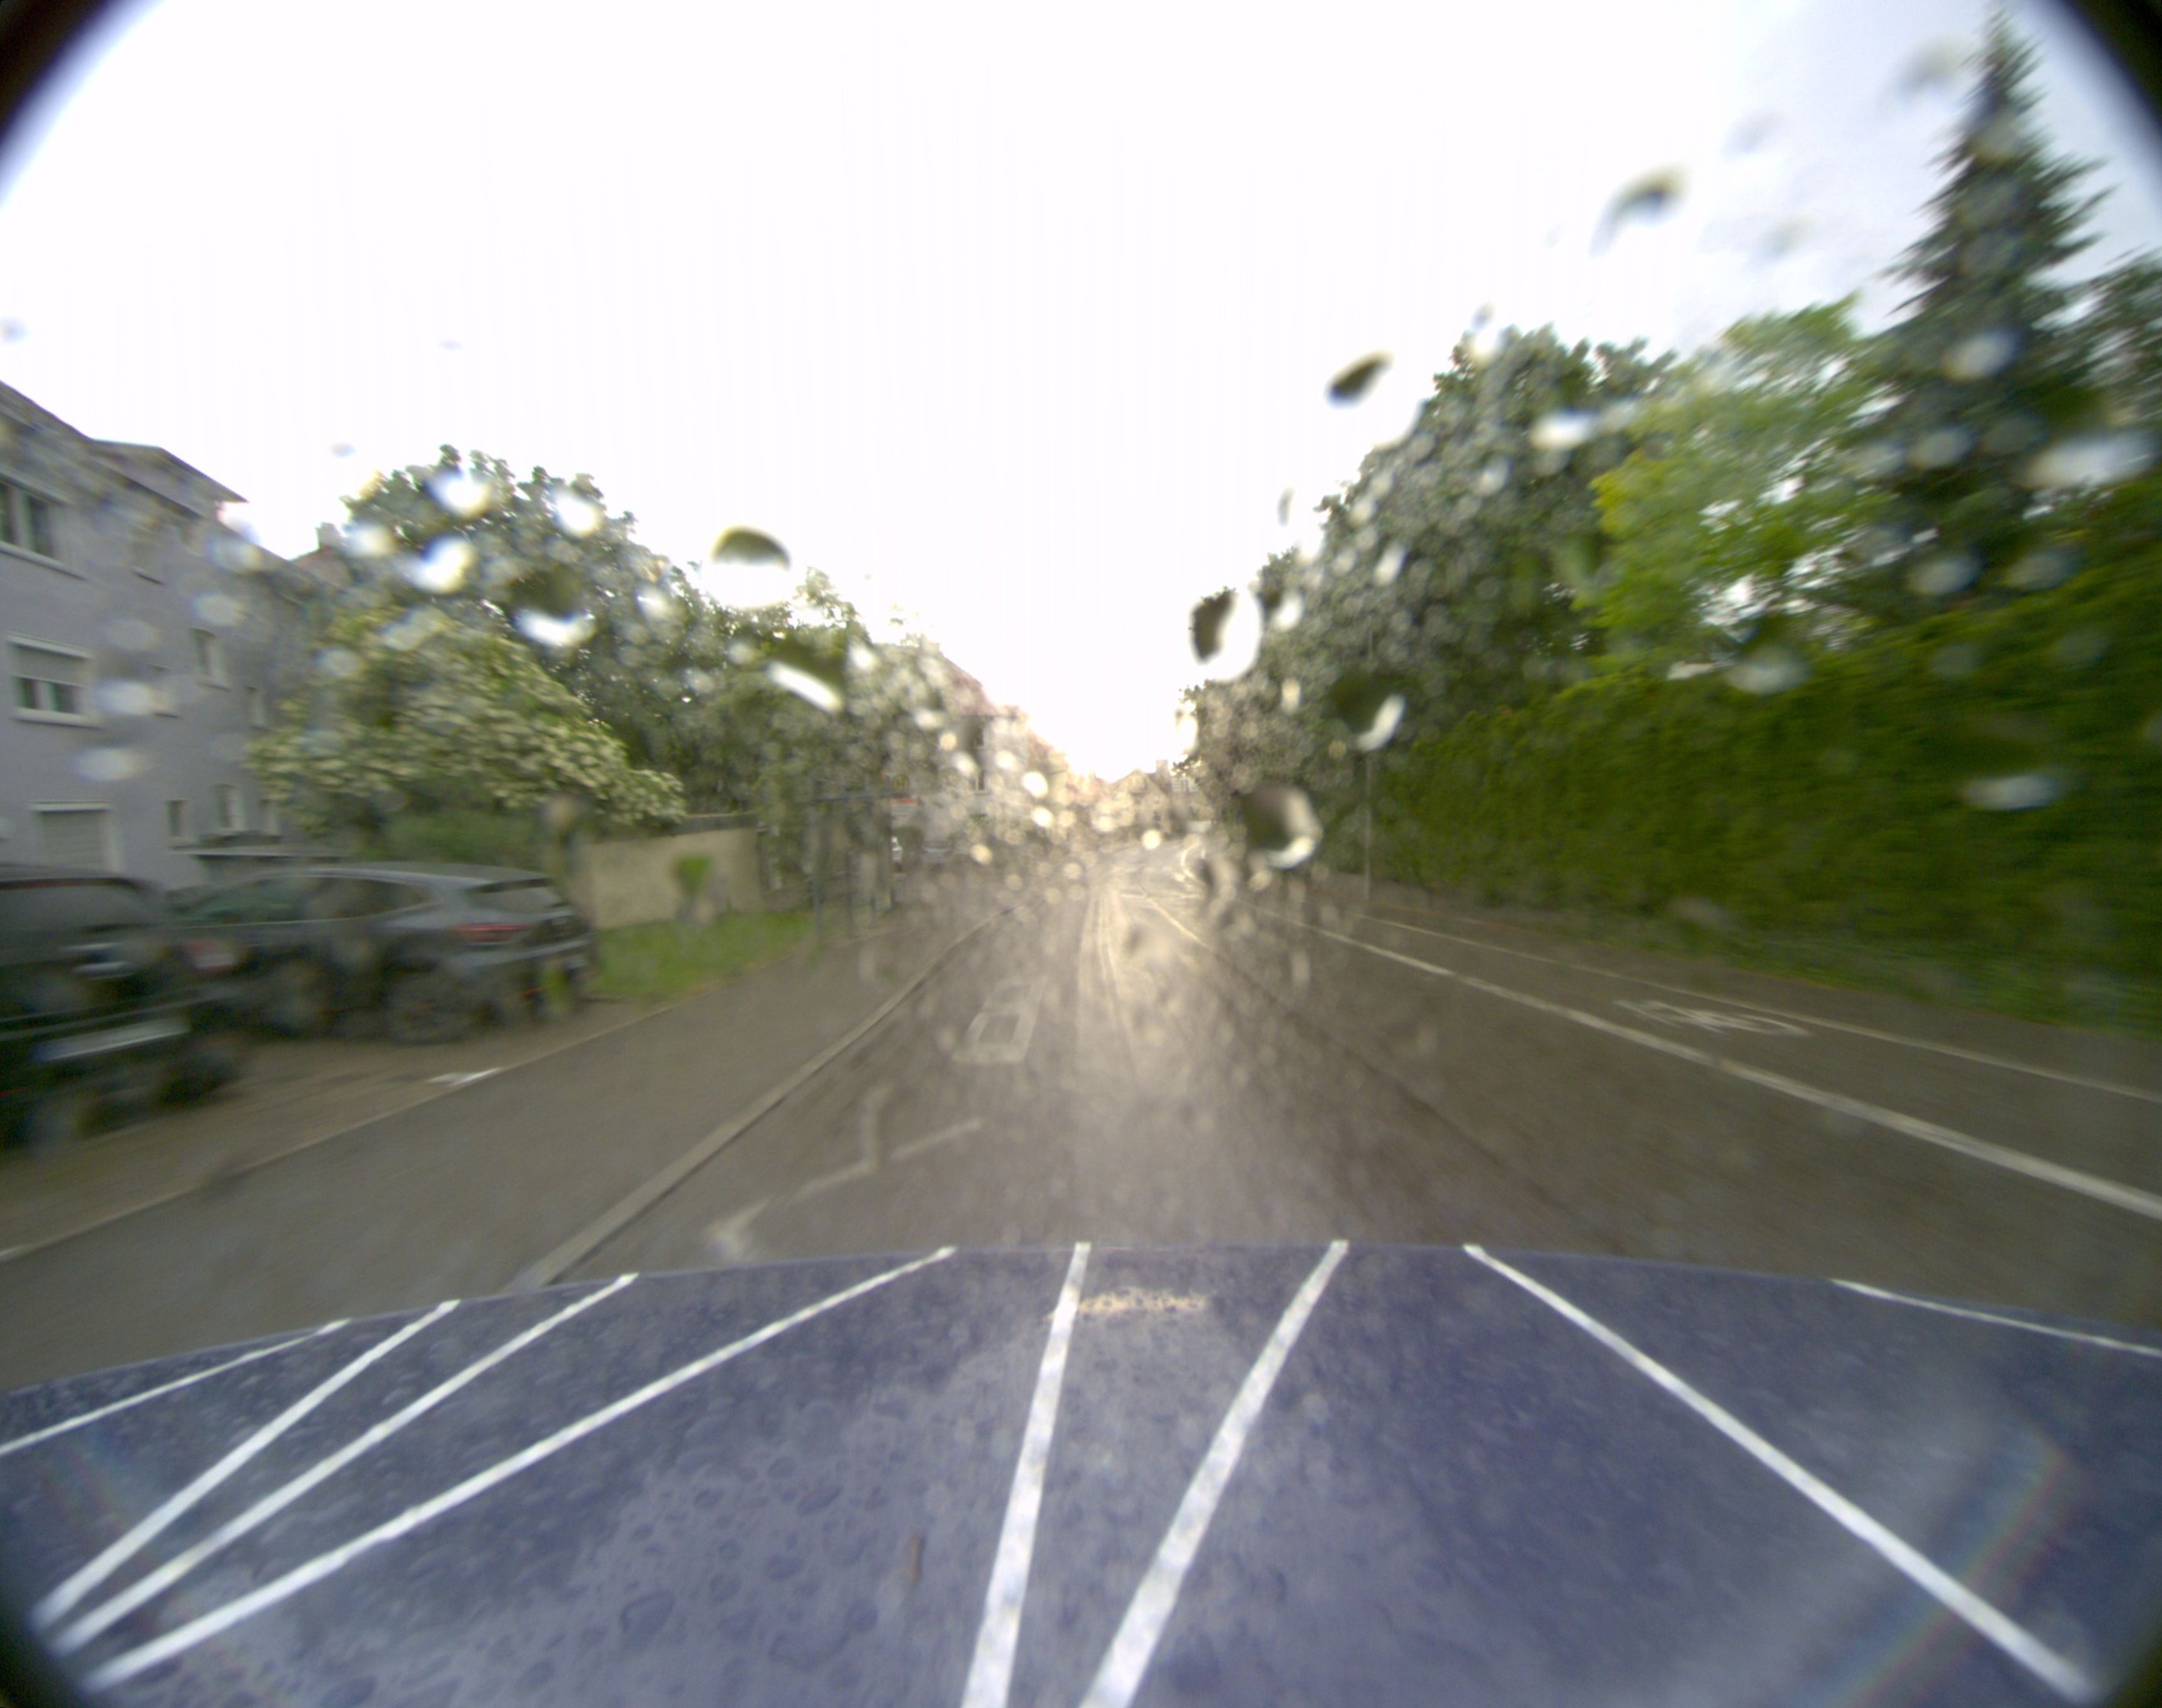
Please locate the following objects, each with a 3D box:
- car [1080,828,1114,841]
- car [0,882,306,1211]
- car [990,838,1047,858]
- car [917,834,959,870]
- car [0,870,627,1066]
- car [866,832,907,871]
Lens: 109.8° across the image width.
[{"bbox_3d":[1.842,-2.272,87.148,3.528,1.332,1.684,0,5,-17],"label":"car"},{"bbox_3d":[-6.807,0.935,4.122,3.448,1.488,1.667,0,0,-1],"label":"car"},{"bbox_3d":[-4.986,-0.473,60.561,4.084,1.400,1.726,-2,2,23],"label":"car"},{"bbox_3d":[-7.426,-0.147,39.196,1.726,1.555,3.786,1,5,-17],"label":"car"},{"bbox_3d":[-6.414,0.891,6.705,3.753,1.450,1.724,0,0,-1],"label":"car"},{"bbox_3d":[-9.640,-0.152,37.980,1.797,1.585,4.248,1,4,-12],"label":"car"}]
